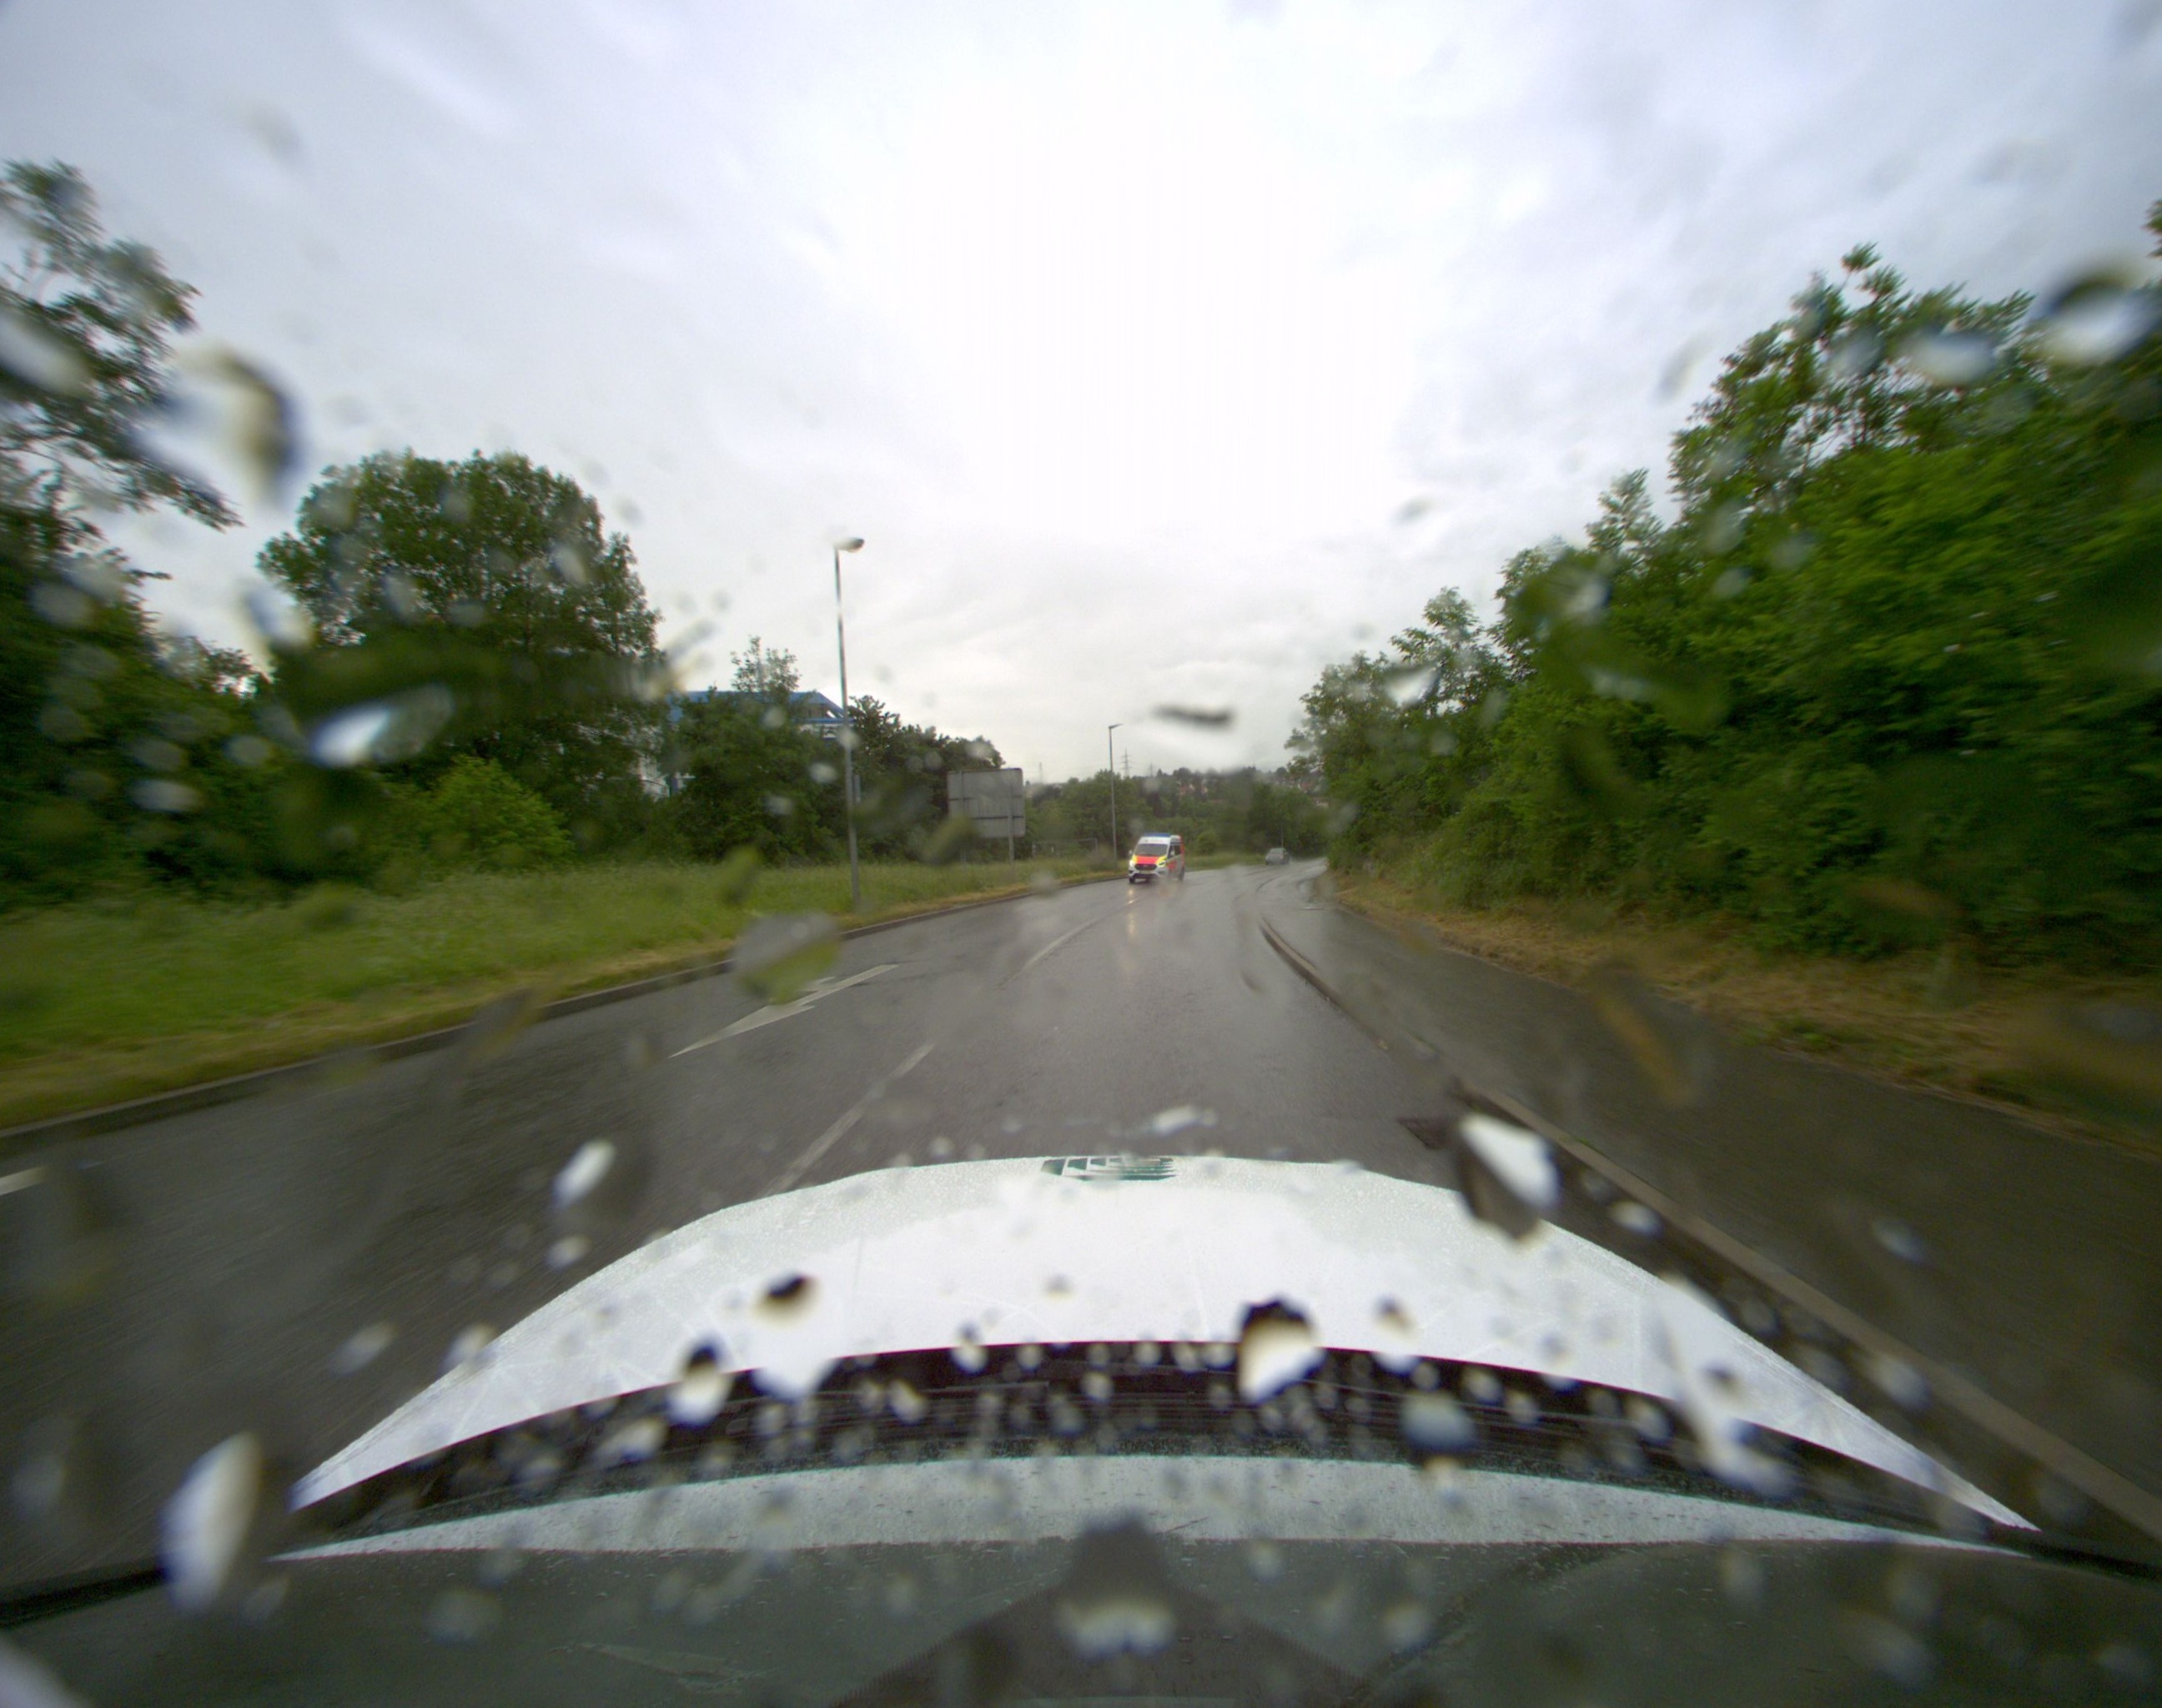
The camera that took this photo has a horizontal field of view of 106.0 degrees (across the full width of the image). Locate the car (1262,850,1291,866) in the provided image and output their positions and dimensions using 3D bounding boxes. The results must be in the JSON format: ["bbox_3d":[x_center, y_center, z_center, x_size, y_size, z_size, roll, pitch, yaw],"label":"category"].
[{"bbox_3d":[19.081,0.347,79.323,1.847,1.552,4.291,1,1,25],"label":"car"}]

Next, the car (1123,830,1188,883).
[{"bbox_3d":[3.793,0.108,40.327,2.028,2.417,5.480,1,0,18],"label":"car"}]
